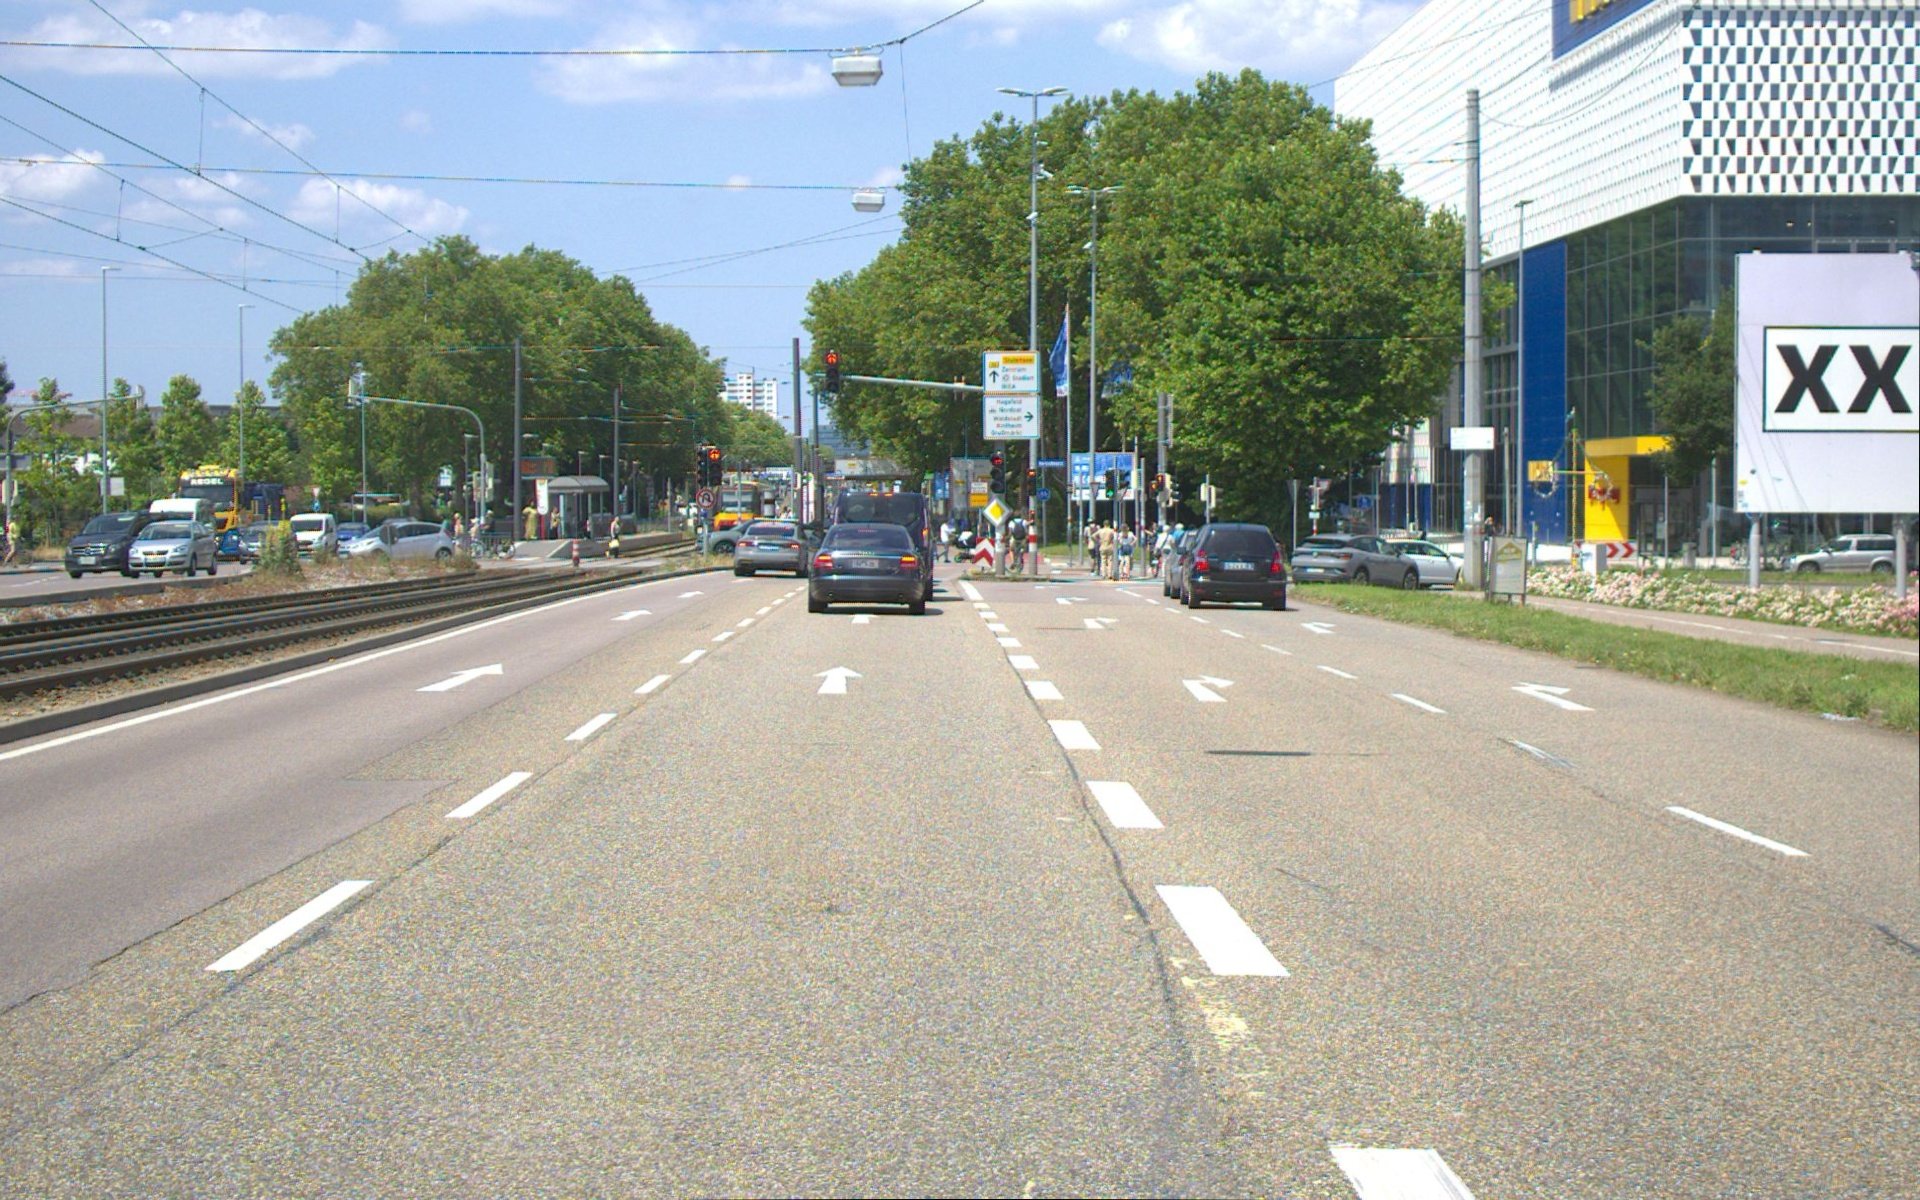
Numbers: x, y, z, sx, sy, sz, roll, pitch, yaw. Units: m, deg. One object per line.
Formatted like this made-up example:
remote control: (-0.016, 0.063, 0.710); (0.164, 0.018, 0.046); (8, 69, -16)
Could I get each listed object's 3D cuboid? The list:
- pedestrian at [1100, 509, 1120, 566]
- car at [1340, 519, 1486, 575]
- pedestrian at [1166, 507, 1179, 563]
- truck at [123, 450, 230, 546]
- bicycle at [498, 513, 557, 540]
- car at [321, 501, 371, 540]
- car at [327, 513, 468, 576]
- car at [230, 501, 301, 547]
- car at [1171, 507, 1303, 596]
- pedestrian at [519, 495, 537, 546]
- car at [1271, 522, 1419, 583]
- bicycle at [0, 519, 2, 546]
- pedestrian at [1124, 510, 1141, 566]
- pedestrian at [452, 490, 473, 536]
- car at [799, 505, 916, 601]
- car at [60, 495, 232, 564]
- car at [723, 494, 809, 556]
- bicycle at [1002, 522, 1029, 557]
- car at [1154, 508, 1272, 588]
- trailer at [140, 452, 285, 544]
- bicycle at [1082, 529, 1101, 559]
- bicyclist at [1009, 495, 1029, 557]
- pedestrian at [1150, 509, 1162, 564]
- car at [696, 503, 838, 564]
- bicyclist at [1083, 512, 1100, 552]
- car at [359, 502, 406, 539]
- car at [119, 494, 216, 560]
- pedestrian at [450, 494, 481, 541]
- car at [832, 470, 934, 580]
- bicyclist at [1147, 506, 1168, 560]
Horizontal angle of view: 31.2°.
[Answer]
pedestrian: (4.368, -1.828, 100.299); (0.554, 1.629, 0.433); (1, 1, 2)
car: (13.322, -1.553, 100.978); (1.999, 1.481, 4.378); (4, 2, 44)
pedestrian: (6.194, -1.900, 100.350); (0.320, 1.629, 0.377); (1, 1, 2)
truck: (-30.325, -3.941, 133.261); (2.767, 3.556, 6.440); (1, 1, -1)
bicycle: (-15.578, -2.664, 123.894); (2.055, 0.922, 0.753); (1, 1, -10)
car: (-30.268, -3.919, 169.533); (1.817, 1.876, 4.001); (1, 1, -1)
car: (-18.238, -1.800, 111.477); (3.986, 1.842, 2.000); (2, 2, -29)
car: (-26.549, -2.905, 131.534); (1.822, 1.664, 4.462); (2, 2, -1)
car: (5.064, -0.920, 63.357); (1.993, 1.481, 4.001); (2, 2, -1)
pedestrian: (-17.237, -3.163, 137.225); (0.685, 2.007, 0.573); (1, 1, -5)
car: (10.155, -1.253, 90.444); (1.998, 1.481, 4.136); (4, 2, 37)
bicycle: (-35.151, -2.440, 123.218); (1.490, 0.983, 0.486); (1, 1, -4)
pedestrian: (5.030, -1.818, 100.364); (0.445, 1.629, 0.430); (1, 1, 2)
pedestrian: (-17.849, -3.125, 123.287); (0.685, 1.631, 0.573); (1, 1, -4)
car: (-1.611, -0.784, 54.835); (1.792, 1.450, 4.001); (0, 2, -1)
car: (-23.341, -2.002, 98.740); (1.997, 1.824, 4.962); (3, 2, 28)
car: (-4.931, -1.928, 87.758); (1.993, 1.481, 4.001); (2, 2, -1)
bicycle: (1.633, -1.783, 100.969); (0.687, 0.990, 2.752); (1, 1, -1)
car: (5.135, -1.085, 70.217); (1.993, 1.481, 4.167); (2, 2, -1)
trailer: (-30.494, -4.135, 140.969); (2.767, 3.506, 15.880); (1, 1, -1)
bicycle: (3.909, -1.681, 102.376); (0.550, 0.874, 1.697); (1, 1, 2)
bicyclist: (1.715, -2.158, 100.361); (0.528, 1.782, 1.088); (1, 1, 0)
pedestrian: (5.841, -1.892, 102.441); (0.339, 1.629, 0.377); (1, 1, 2)
car: (-6.630, -2.296, 118.203); (4.395, 1.911, 2.001); (2, 2, -21)
bicyclist: (3.906, -2.031, 102.351); (0.470, 1.189, 0.791); (1, 1, 2)
car: (-30.463, -4.197, 181.436); (1.817, 1.876, 4.001); (1, 1, -1)
car: (-20.451, -1.906, 88.863); (1.685, 1.578, 4.059); (-2, 2, -3)
pedestrian: (-18.258, -3.031, 127.017); (0.824, 1.714, 0.774); (2, 1, 21)
car: (-1.450, -1.444, 64.618); (1.836, 1.943, 4.001); (1, 3, -1)
bicyclist: (6.466, -2.188, 112.472); (0.529, 1.758, 0.827); (1, 1, 13)
